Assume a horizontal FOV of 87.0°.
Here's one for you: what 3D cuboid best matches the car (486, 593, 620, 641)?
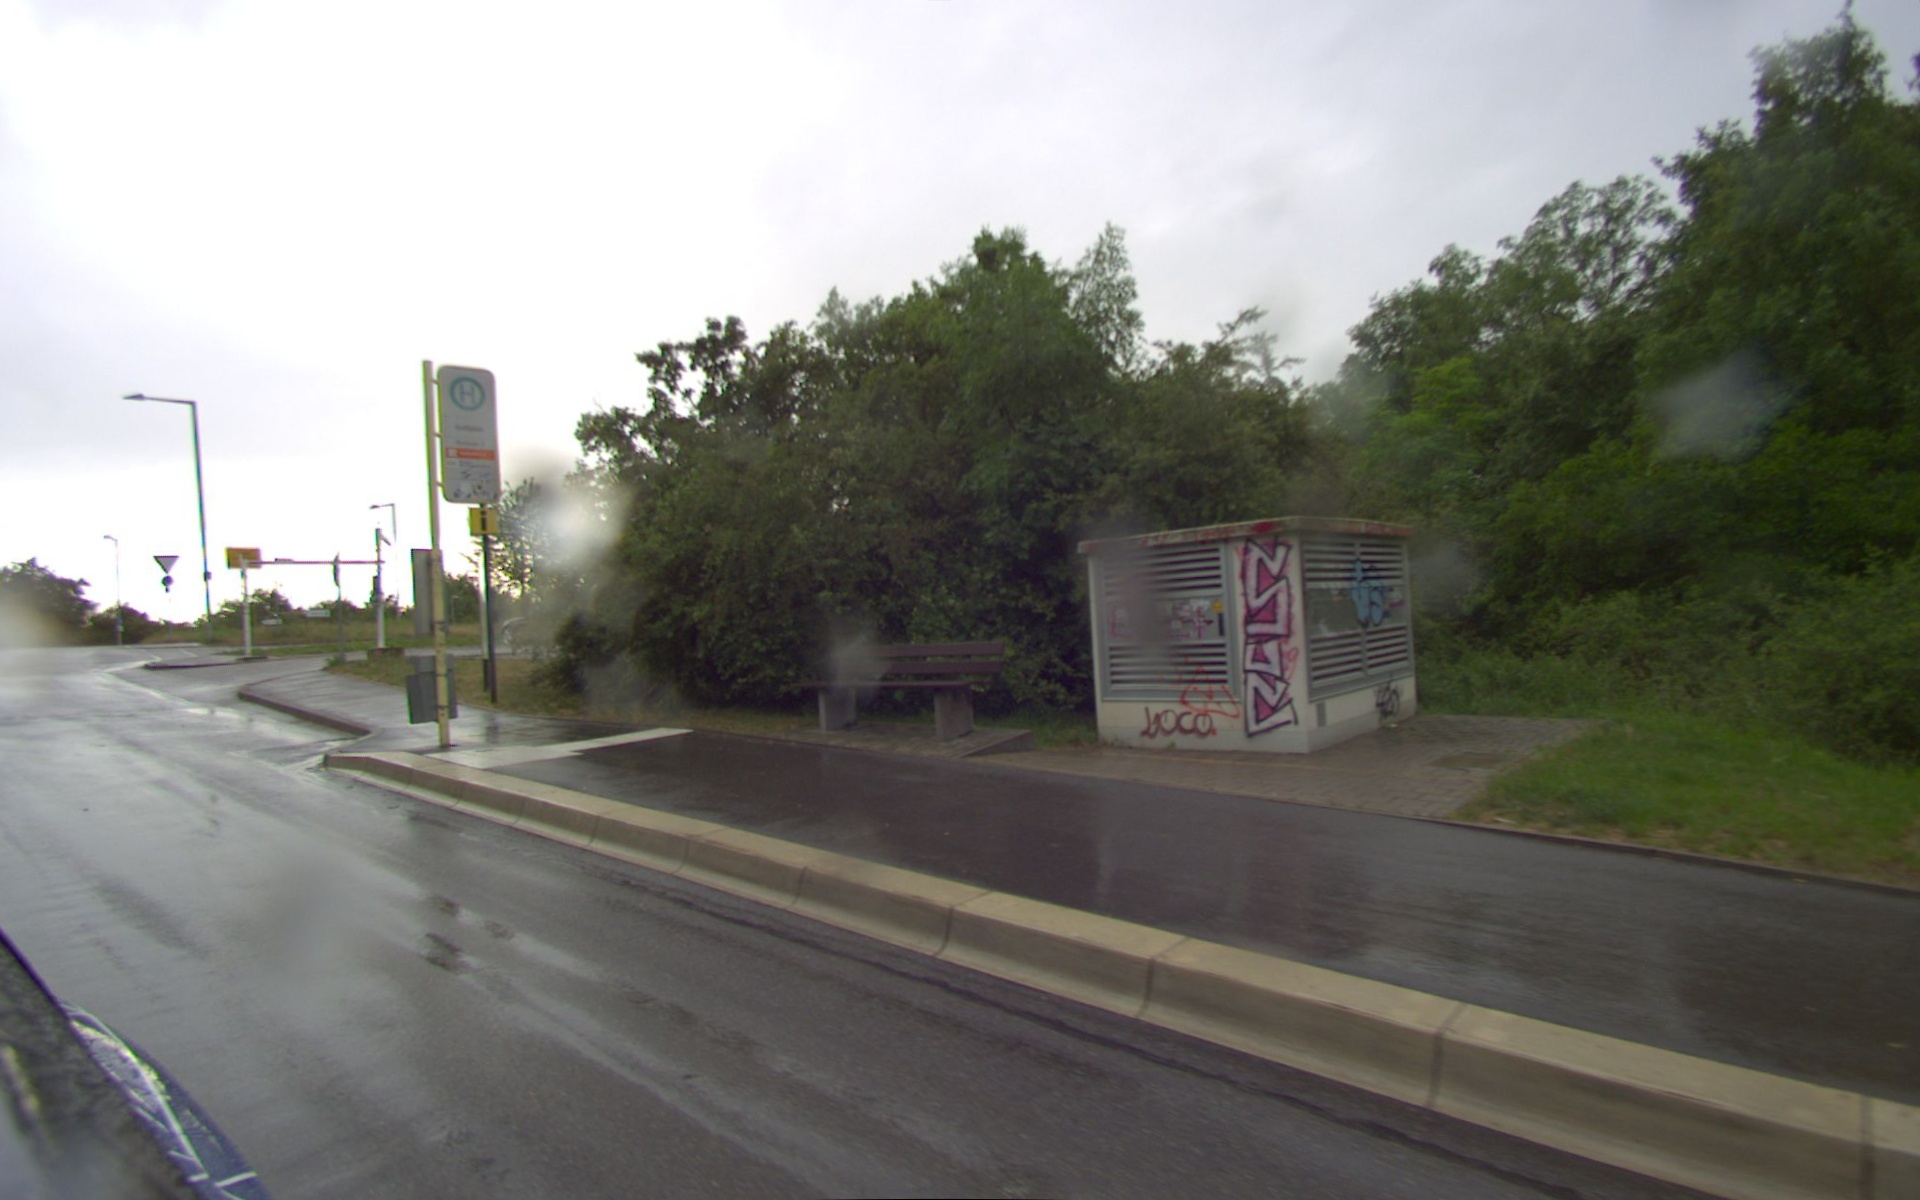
[{"bbox_3d":[-13.265,0.551,32.931,4.419,1.425,1.976,-2,0,36],"label":"car"}]
